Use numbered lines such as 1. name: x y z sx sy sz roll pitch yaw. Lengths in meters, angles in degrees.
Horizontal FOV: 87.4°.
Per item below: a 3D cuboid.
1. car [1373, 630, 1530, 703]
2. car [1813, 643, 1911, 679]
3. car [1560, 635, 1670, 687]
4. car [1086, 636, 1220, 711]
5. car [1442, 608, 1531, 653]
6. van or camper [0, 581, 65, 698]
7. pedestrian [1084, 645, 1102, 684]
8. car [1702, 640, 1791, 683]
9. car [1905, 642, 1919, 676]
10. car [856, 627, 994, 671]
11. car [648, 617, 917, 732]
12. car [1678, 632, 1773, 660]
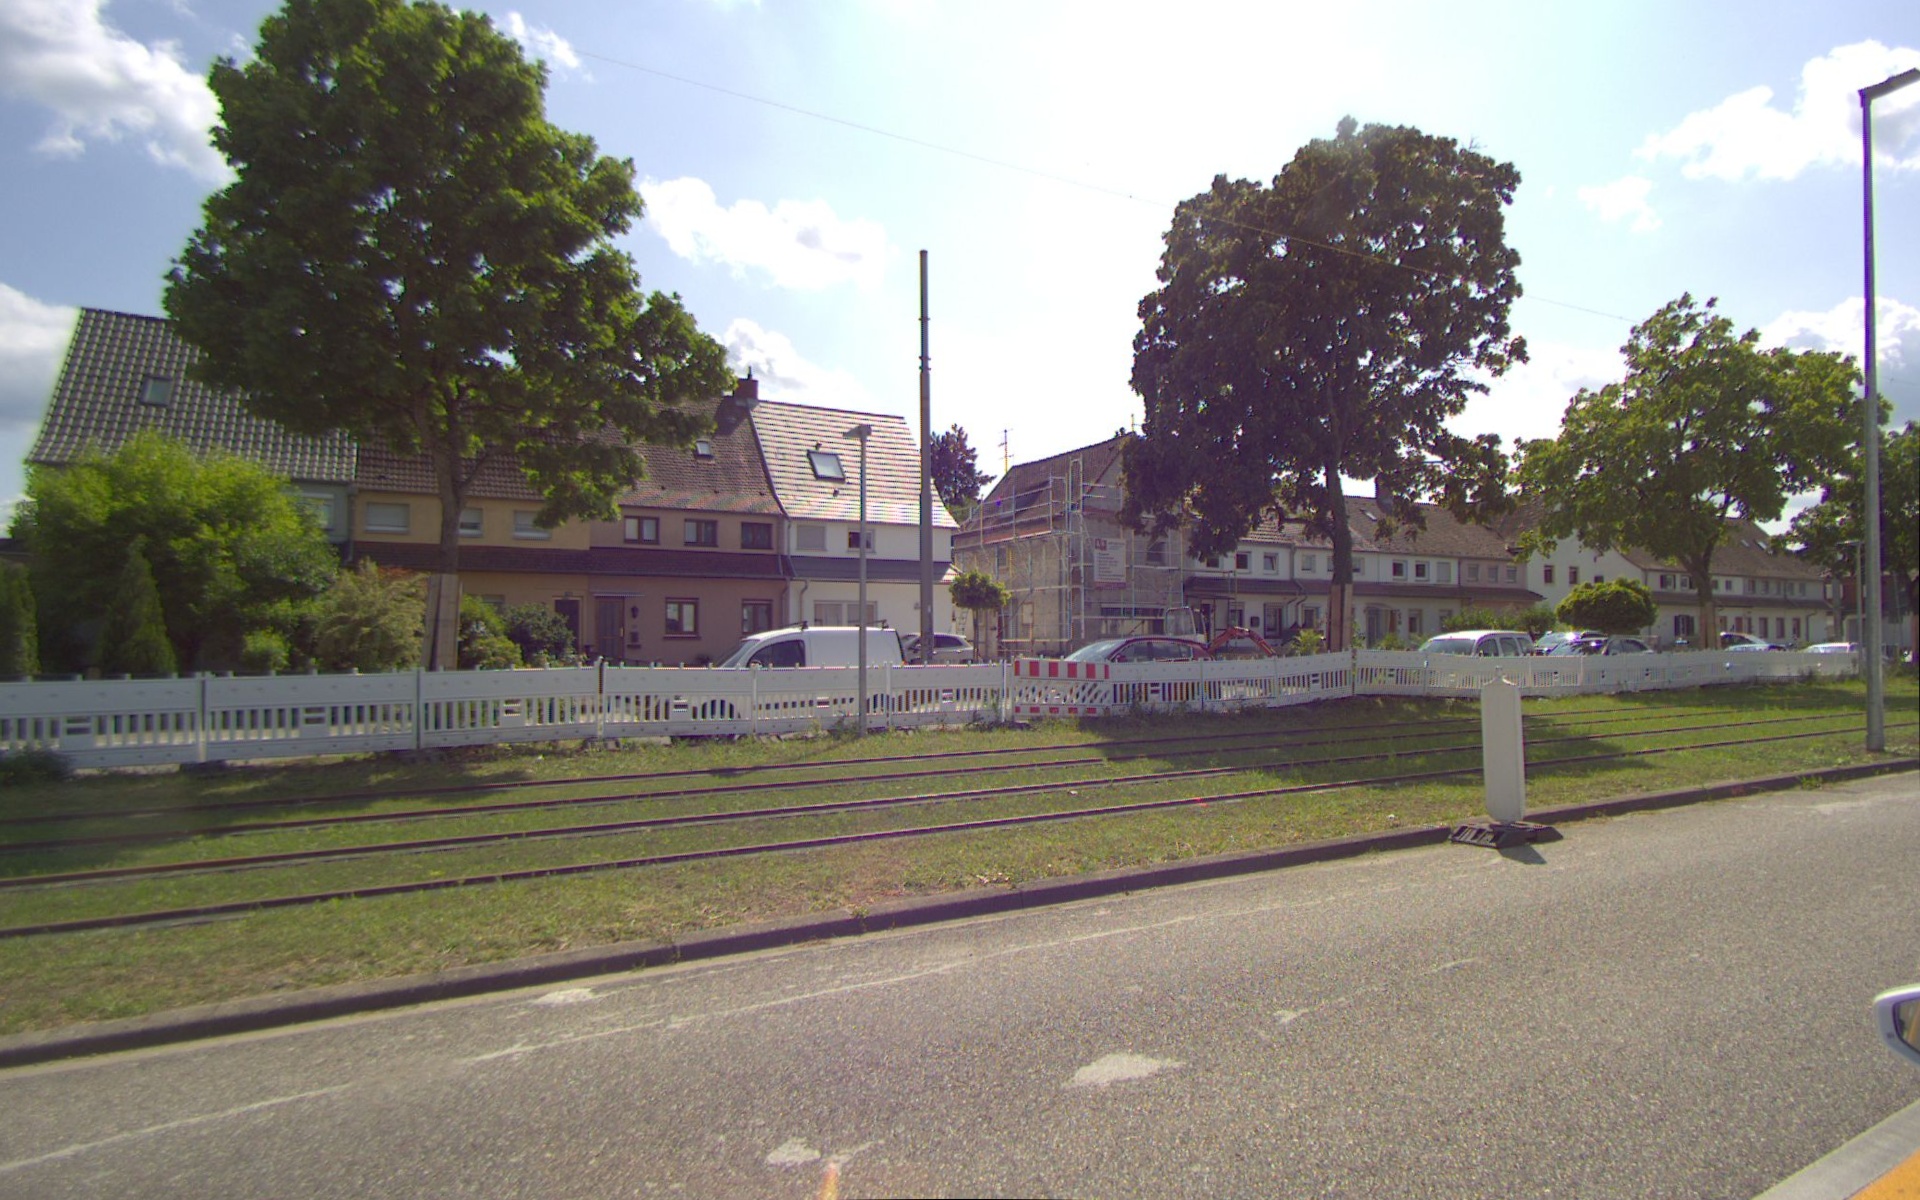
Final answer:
1. car: 12.213 1.631 24.936 3.853 1.673 1.616 2 -4 -30
2. car: 32.276 2.153 35.926 3.703 1.192 1.496 1 -2 -30
3. car: 18.591 1.729 28.489 3.077 1.395 1.344 2 -4 -30
4. car: 3.754 1.412 19.544 2.416 1.365 1.069 2 -3 -26
5. car: 25.105 1.458 47.883 3.953 2.040 1.984 2 -1 -30
6. van or camper: -23.891 0.871 23.930 2.470 2.667 6.305 2 -1 -29
7. pedestrian: 4.758 2.313 36.034 0.465 1.394 0.420 2 -1 -30
8. car: 26.030 2.012 33.222 3.135 1.342 1.333 1 -2 -32
9. car: 41.481 2.465 42.335 4.209 1.394 1.531 1 -4 -35
10. car: -1.072 1.540 31.177 4.071 1.291 1.527 2 -4 -30
11. car: -2.813 1.165 16.163 3.953 1.647 1.646 2 -4 -30
12. car: 43.573 2.606 57.266 1.705 1.529 3.968 1 -3 -30
